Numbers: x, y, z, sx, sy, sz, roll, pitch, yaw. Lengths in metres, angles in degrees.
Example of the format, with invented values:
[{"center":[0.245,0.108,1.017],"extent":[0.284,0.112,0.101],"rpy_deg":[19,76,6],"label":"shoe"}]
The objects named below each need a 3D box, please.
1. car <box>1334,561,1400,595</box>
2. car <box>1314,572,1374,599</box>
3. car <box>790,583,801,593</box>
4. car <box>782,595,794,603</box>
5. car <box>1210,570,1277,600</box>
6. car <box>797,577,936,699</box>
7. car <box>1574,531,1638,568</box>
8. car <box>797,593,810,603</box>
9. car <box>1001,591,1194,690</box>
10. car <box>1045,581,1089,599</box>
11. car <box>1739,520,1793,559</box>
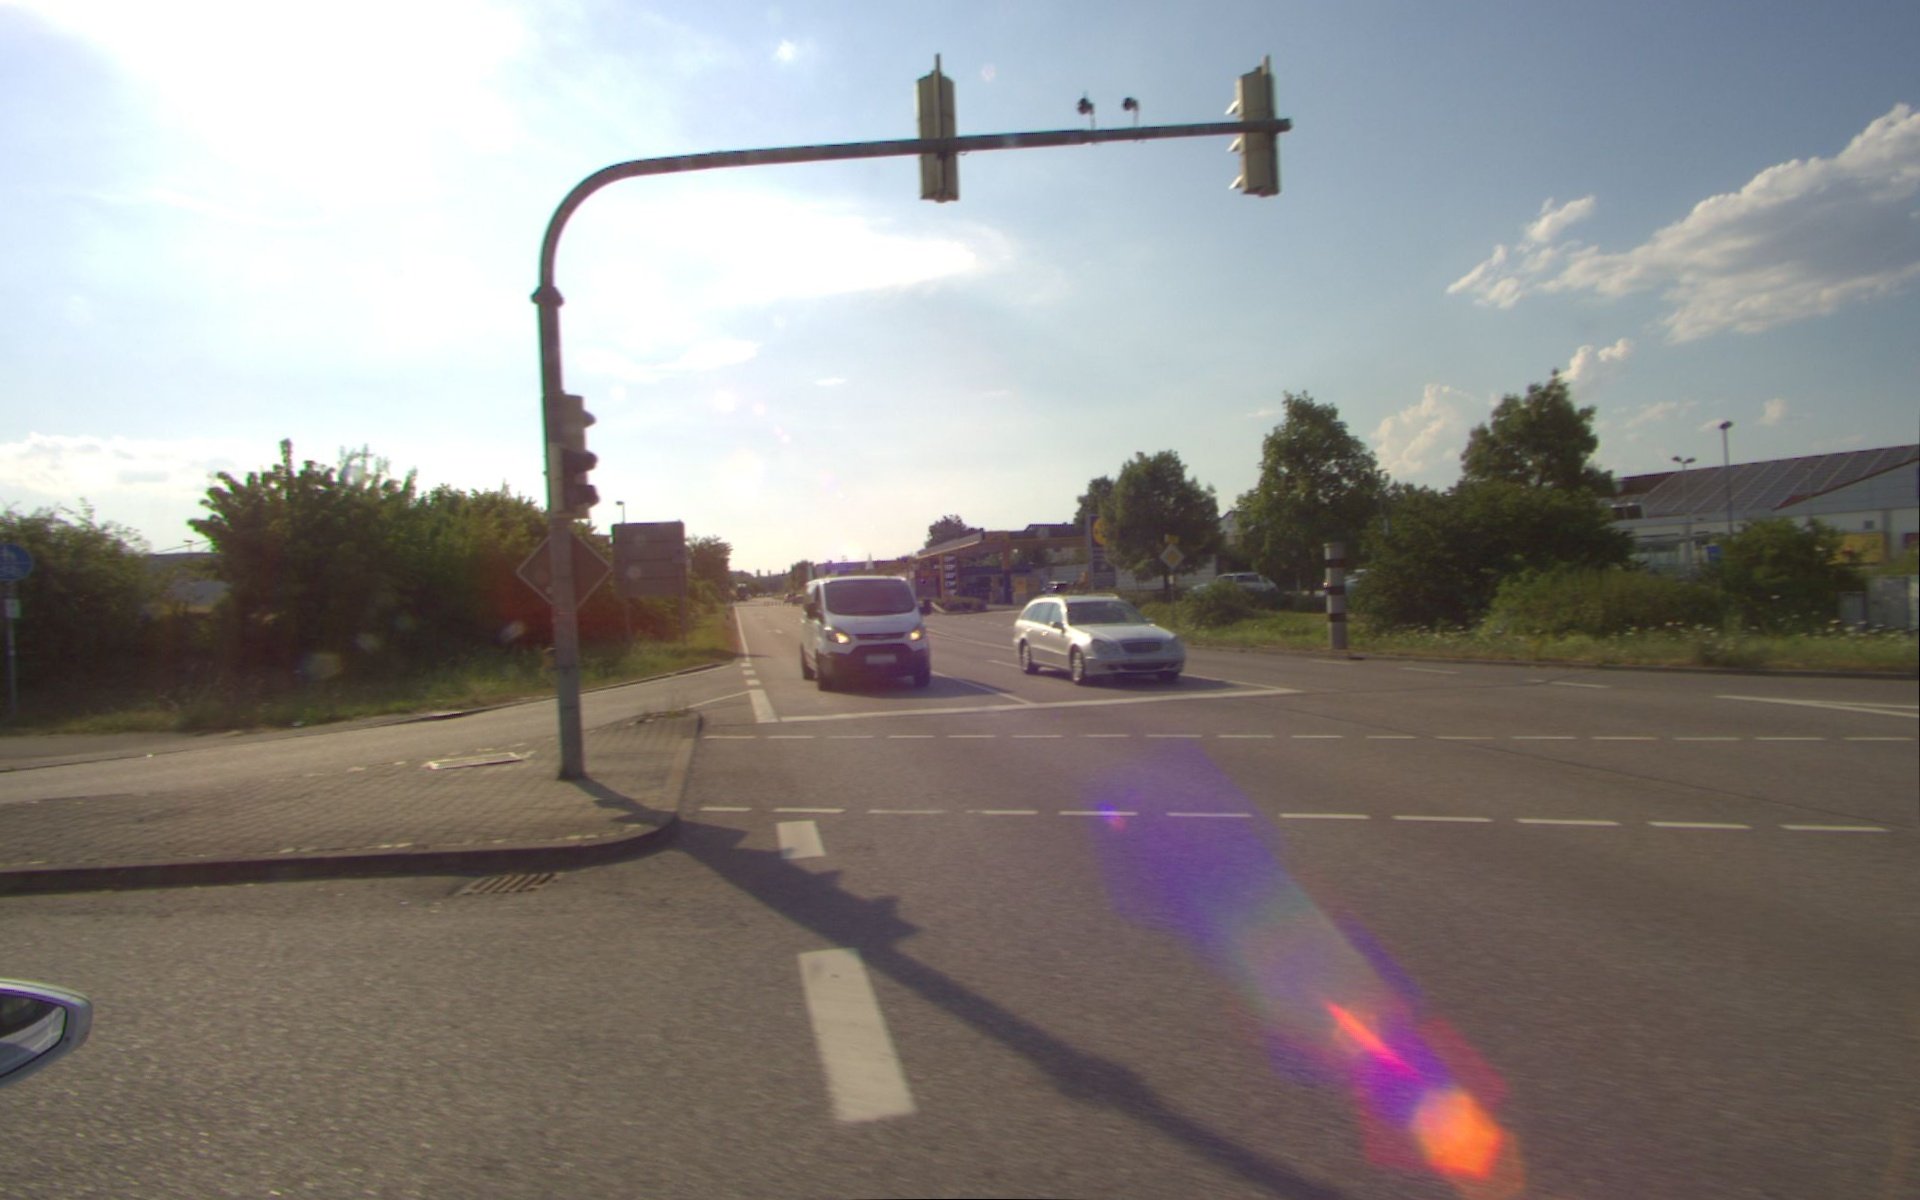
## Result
[{"center":[26.137,-1.395,64.242],"extent":[4.604,2.040,1.951],"rpy_deg":[0,-1,-40],"label":"car"},{"center":[30.383,-1.134,79.133],"extent":[4.868,2.040,1.987],"rpy_deg":[0,-1,-34],"label":"car"},{"center":[-36.947,-2.639,225.117],"extent":[1.965,2.040,3.993],"rpy_deg":[-1,-1,-17],"label":"car"},{"center":[-30.290,-0.234,176.428],"extent":[1.715,1.370,3.198],"rpy_deg":[-1,-1,-17],"label":"car"},{"center":[20.411,-1.065,71.940],"extent":[4.868,2.040,1.987],"rpy_deg":[0,-1,-34],"label":"car"},{"center":[-1.884,0.576,18.688],"extent":[1.872,1.974,4.810],"rpy_deg":[-1,1,-14],"label":"car"},{"center":[39.789,-3.077,61.690],"extent":[3.956,2.040,2.299],"rpy_deg":[0,-1,-41],"label":"car"},{"center":[-23.225,-0.322,148.596],"extent":[1.526,1.468,3.047],"rpy_deg":[-1,-1,-13],"label":"car"},{"center":[2.312,0.674,18.348],"extent":[1.829,1.533,4.948],"rpy_deg":[-1,-1,-13],"label":"car"},{"center":[9.533,-0.905,89.573],"extent":[2.249,1.392,4.851],"rpy_deg":[-1,-1,-15],"label":"car"},{"center":[47.961,-3.573,59.568],"extent":[3.959,2.040,1.940],"rpy_deg":[0,-1,-43],"label":"car"}]
